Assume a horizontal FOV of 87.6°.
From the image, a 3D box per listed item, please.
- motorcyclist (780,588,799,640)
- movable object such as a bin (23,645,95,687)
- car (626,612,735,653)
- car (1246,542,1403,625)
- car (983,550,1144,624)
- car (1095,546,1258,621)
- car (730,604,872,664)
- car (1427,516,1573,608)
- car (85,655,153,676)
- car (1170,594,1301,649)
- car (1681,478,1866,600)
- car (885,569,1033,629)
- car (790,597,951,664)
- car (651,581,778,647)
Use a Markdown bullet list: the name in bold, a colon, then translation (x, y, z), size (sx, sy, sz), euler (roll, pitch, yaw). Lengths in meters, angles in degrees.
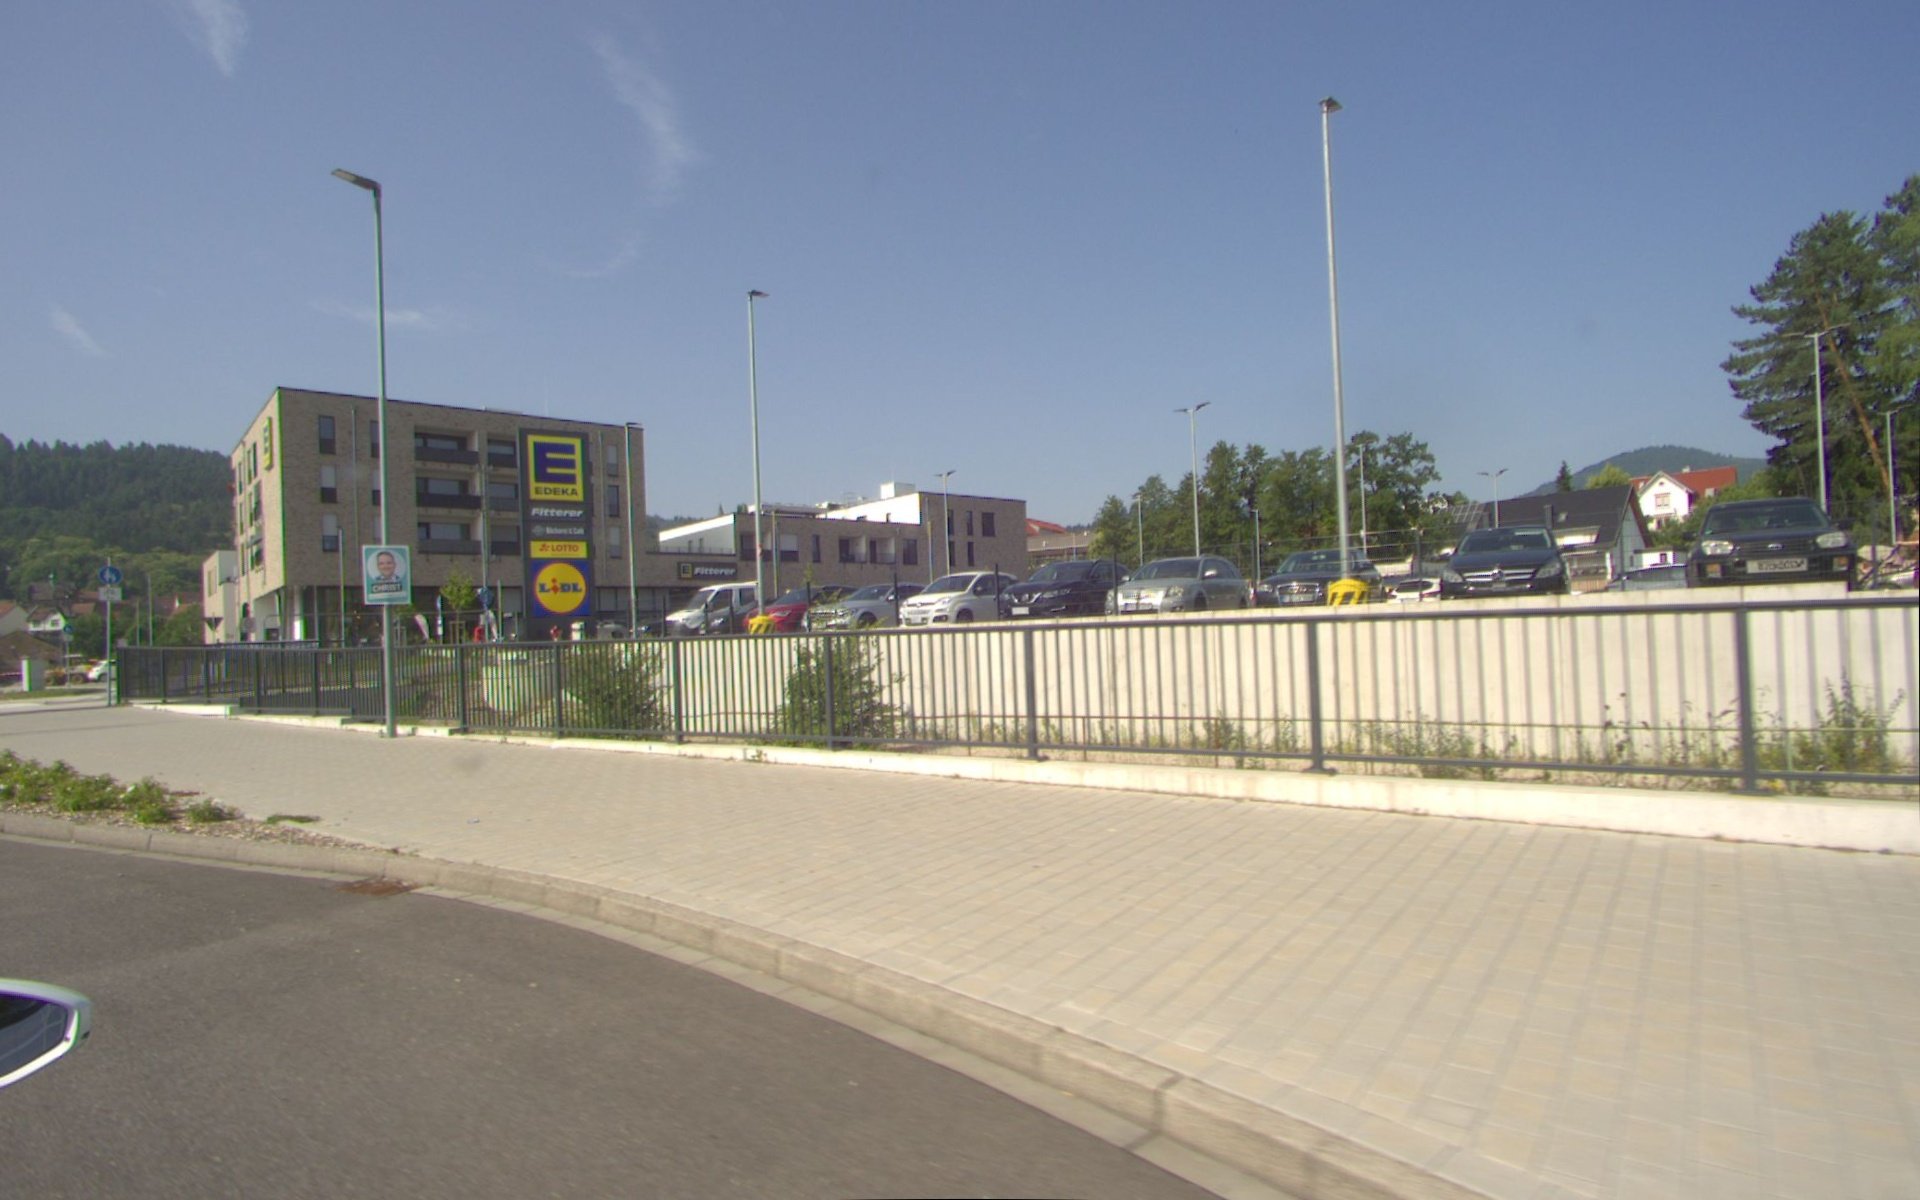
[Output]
- **motorcyclist**: translation (-5.208, 0.441, 30.624), size (0.423, 1.552, 0.454), euler (-3, -1, -1)
- **movable object such as a bin**: translation (-43.504, 3.181, 48.358), size (1.414, 1.867, 2.429), euler (-4, -2, 43)
- **car**: translation (-11.427, 1.308, 41.056), size (3.945, 1.466, 1.668), euler (-2, -2, -33)
- **car**: translation (6.592, -0.224, 17.882), size (1.707, 1.261, 3.956), euler (-3, -2, 34)
- **car**: translation (2.282, -0.225, 21.212), size (1.638, 1.359, 4.026), euler (-3, -2, 34)
- **car**: translation (4.347, -0.257, 19.589), size (1.642, 1.261, 4.268), euler (-3, -2, 34)
- **car**: translation (-4.093, 0.861, 26.236), size (1.688, 1.448, 3.546), euler (-3, -2, 35)
- **car**: translation (9.129, -0.526, 16.748), size (1.721, 1.261, 4.202), euler (-3, -2, 34)
- **car**: translation (-59.928, 4.664, 71.364), size (1.450, 1.320, 3.463), euler (-3, -2, 36)
- **car**: translation (9.151, 0.738, 33.442), size (3.880, 1.630, 1.593), euler (-5, -2, 45)
- **car**: translation (11.681, -0.759, 14.623), size (1.702, 1.422, 3.995), euler (-3, -2, 34)
- **car**: translation (0.047, 0.009, 23.138), size (1.692, 1.214, 3.546), euler (-3, -2, 35)
- **car**: translation (-2.132, 0.737, 24.822), size (1.695, 1.506, 4.042), euler (-3, -2, 37)
- **car**: translation (-8.832, 0.491, 36.070), size (3.947, 2.163, 1.988), euler (-2, -2, -35)
